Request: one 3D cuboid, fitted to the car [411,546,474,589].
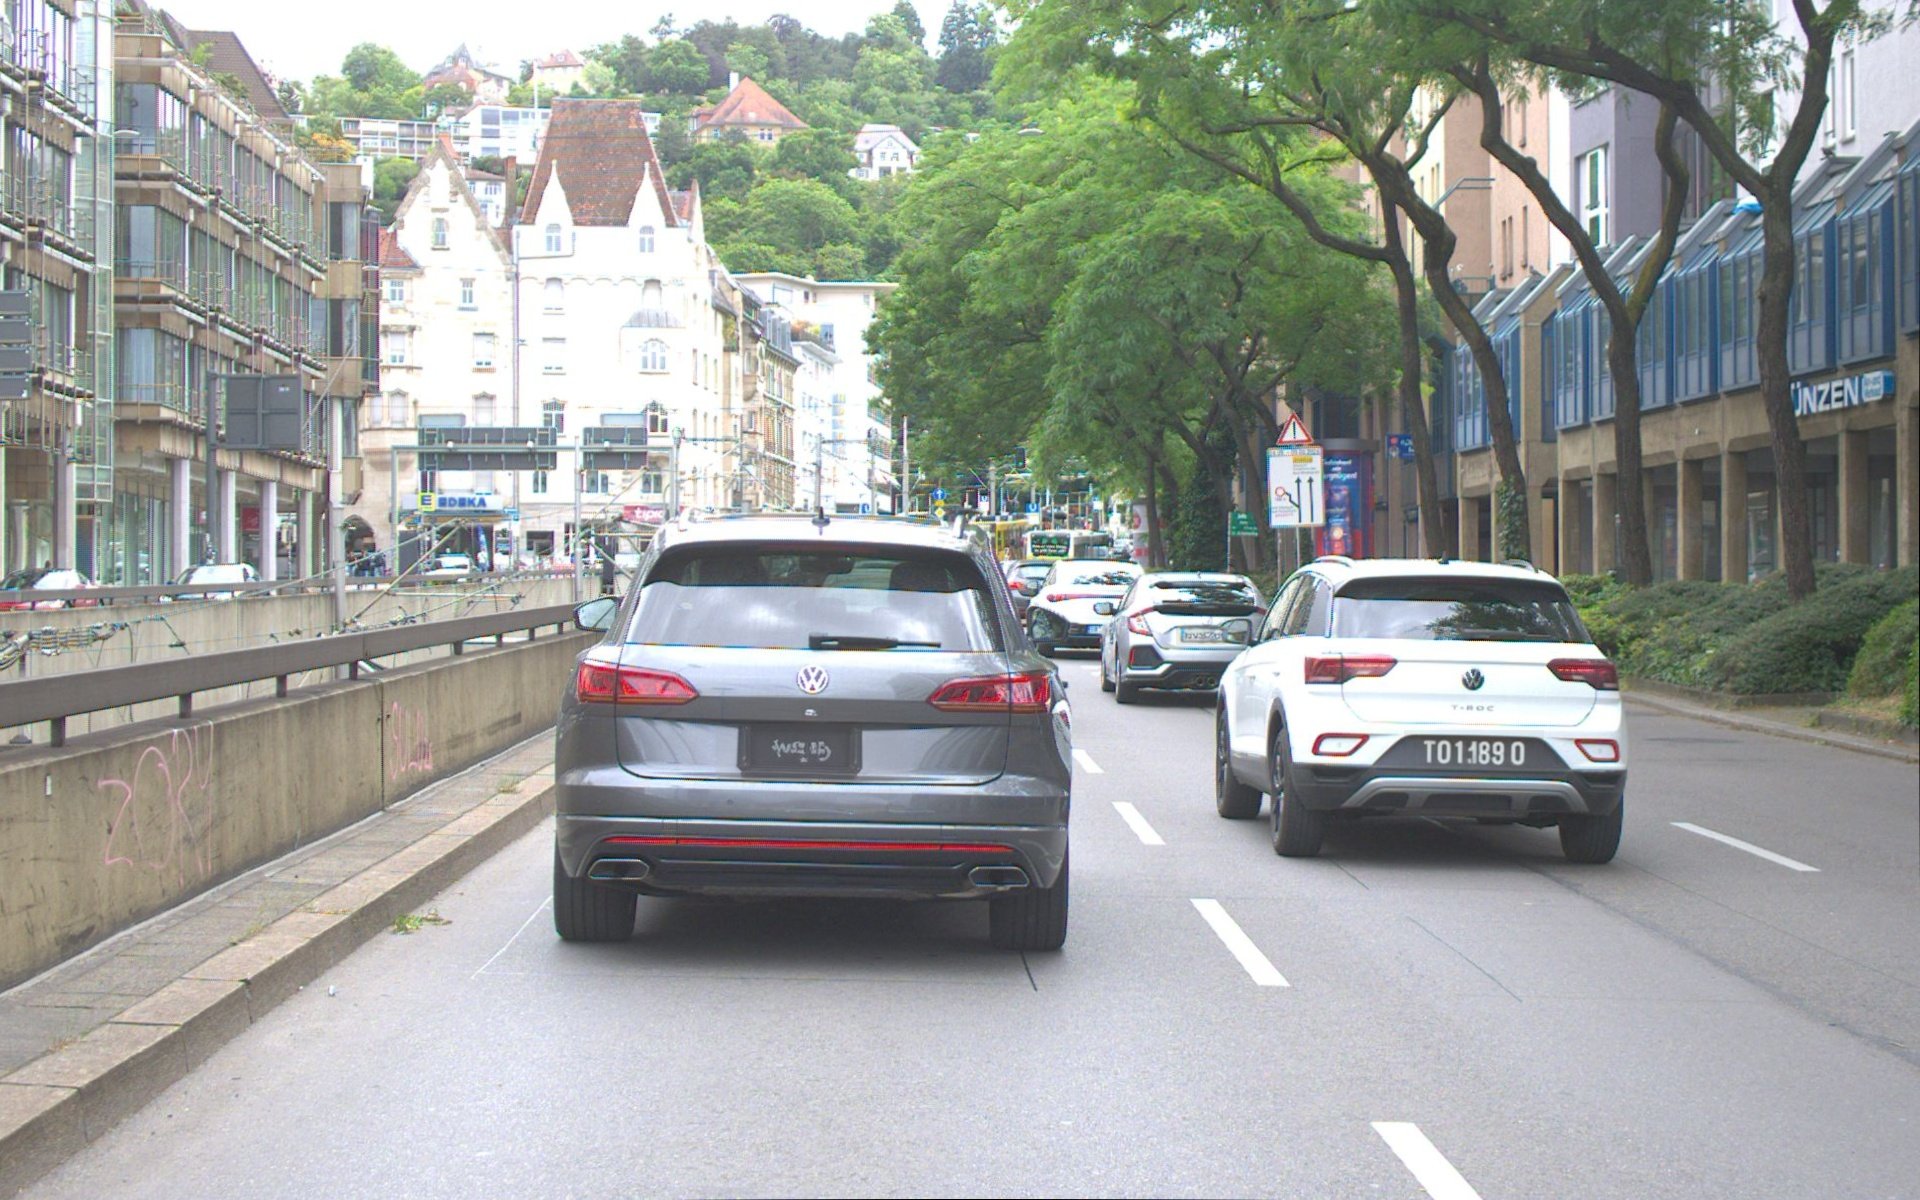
[{"bbox_3d":[-21.381,-1.348,142.144,1.993,1.761,4.281,0,1,-1],"label":"car"}]

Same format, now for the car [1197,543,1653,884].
[{"bbox_3d":[2.422,0.529,18.864,1.797,1.540,3.936,2,2,-2],"label":"car"}]

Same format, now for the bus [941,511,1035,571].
[{"bbox_3d":[1.822,-3.601,210.198,3.851,3.520,17.241,0,1,7],"label":"bus"}]

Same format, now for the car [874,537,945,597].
[{"bbox_3d":[-1.359,-0.889,92.768,1.832,1.561,3.767,-1,1,-1],"label":"car"}]

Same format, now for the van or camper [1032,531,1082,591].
[{"bbox_3d":[5.201,-2.139,185.709,2.627,3.167,5.803,0,1,1],"label":"van or camper"}]

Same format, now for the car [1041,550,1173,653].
[{"bbox_3d":[2.220,0.004,52.743,1.832,1.512,3.767,0,1,-1],"label":"car"}]

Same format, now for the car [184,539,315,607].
[{"bbox_3d":[-16.973,-0.661,82.327,1.993,1.580,4.887,0,1,2],"label":"car"}]

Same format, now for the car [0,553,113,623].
[{"bbox_3d":[-20.001,-0.290,75.353,1.993,1.459,4.886,0,1,-4],"label":"car"}]

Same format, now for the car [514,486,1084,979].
[{"bbox_3d":[-0.655,0.426,14.202,1.970,1.690,4.225,-1,1,-2],"label":"car"}]

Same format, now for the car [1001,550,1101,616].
[{"bbox_3d":[1.954,-0.387,74.701,1.832,1.358,3.768,-1,1,-4],"label":"car"}]

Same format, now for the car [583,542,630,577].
[{"bbox_3d":[-17.969,-2.075,174.944,1.993,1.761,4.281,0,1,-1],"label":"car"}]

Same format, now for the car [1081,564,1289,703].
[{"bbox_3d":[2.428,0.332,38.090,1.833,1.427,4.148,1,1,-3],"label":"car"}]

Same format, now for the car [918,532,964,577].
[{"bbox_3d":[-0.802,-1.921,145.185,1.832,1.868,4.870,-1,1,1],"label":"car"}]
